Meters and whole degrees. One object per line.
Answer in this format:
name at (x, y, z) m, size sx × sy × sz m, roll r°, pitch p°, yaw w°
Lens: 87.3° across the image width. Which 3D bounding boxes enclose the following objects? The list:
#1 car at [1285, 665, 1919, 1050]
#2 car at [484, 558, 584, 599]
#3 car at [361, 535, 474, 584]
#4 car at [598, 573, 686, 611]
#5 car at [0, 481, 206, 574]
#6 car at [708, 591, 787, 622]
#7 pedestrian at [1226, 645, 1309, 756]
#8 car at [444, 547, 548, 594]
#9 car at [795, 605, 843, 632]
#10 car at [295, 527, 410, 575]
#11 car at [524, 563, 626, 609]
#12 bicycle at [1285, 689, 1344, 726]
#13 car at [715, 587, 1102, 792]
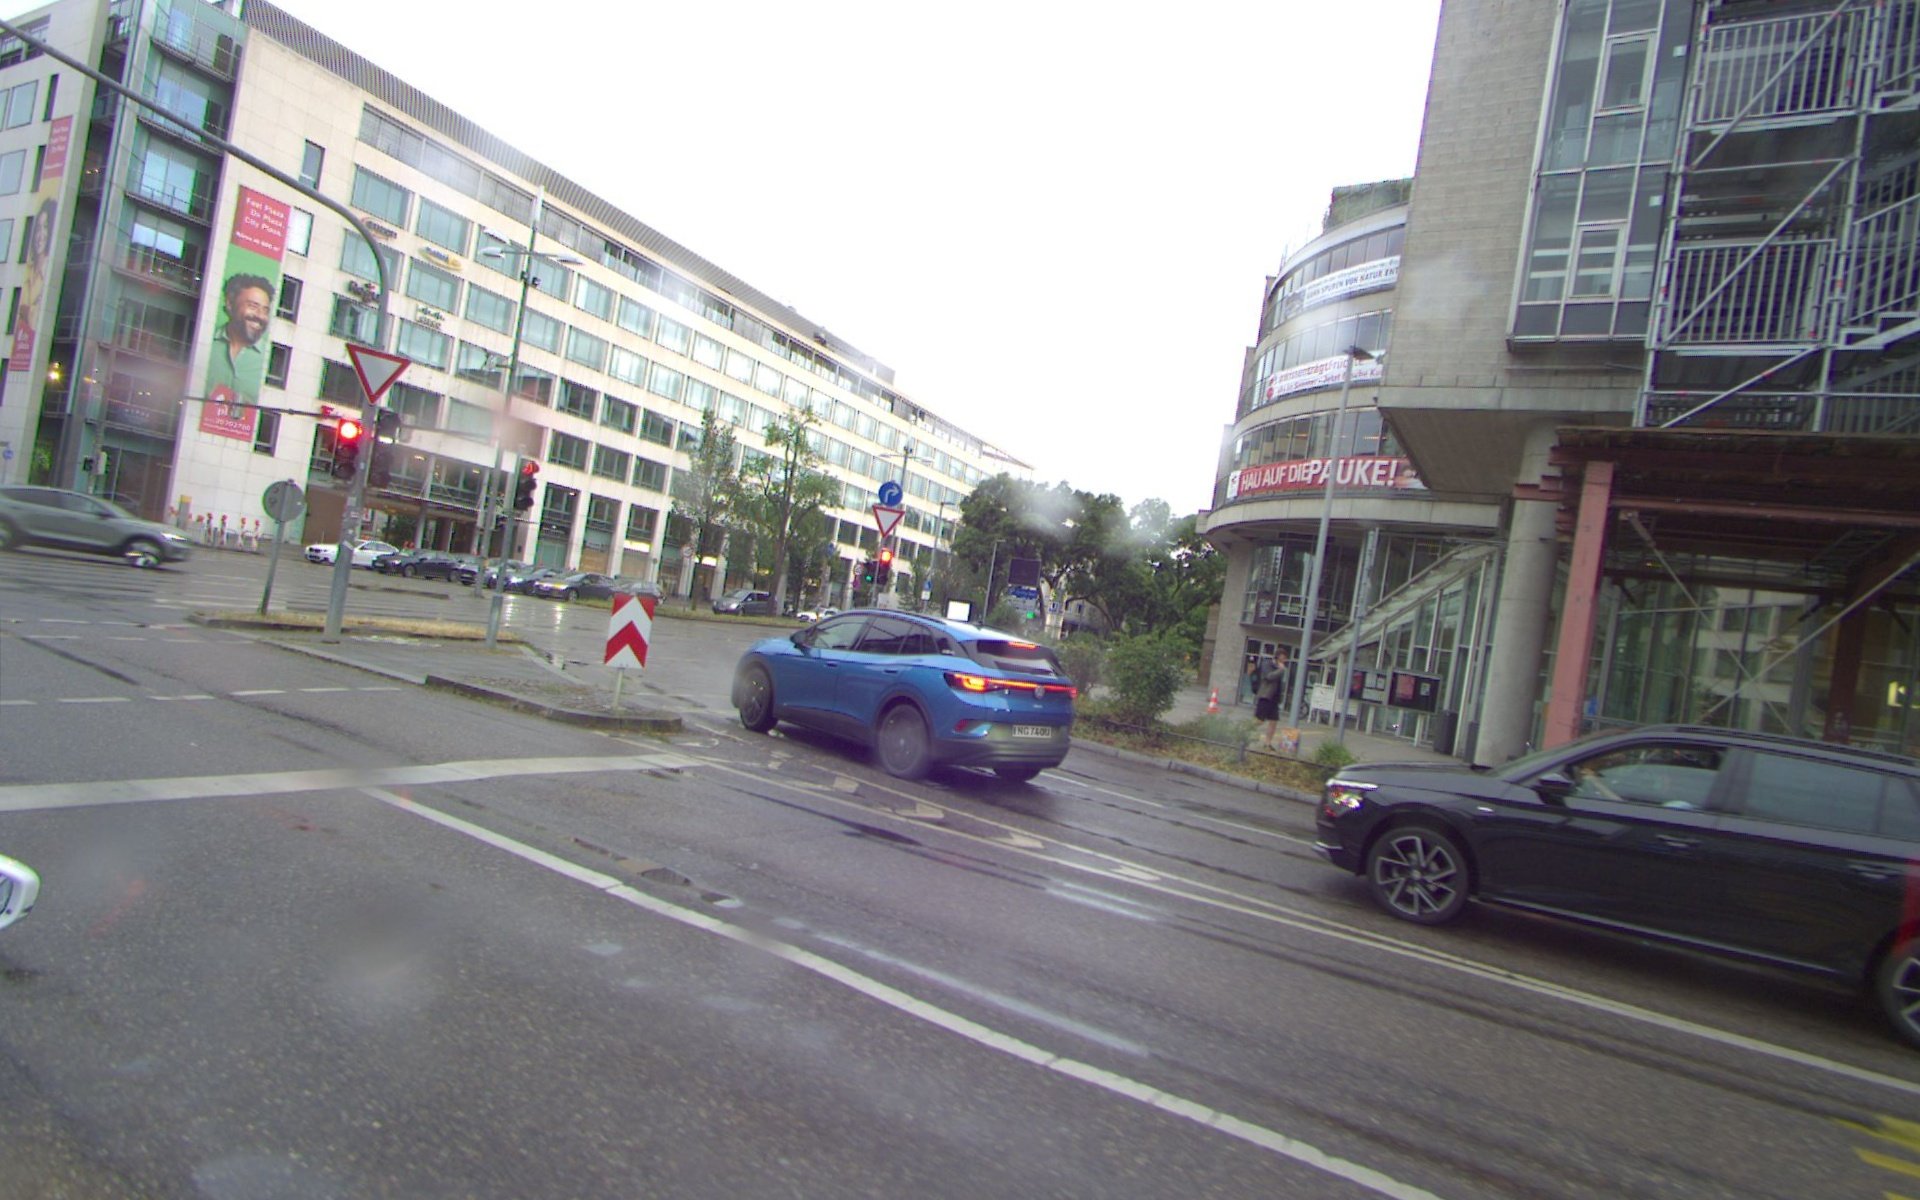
car at (4.532, 1.523, 6.634) m, size 4.080 × 1.558 × 1.781 m, roll 7°, pitch -1°, yaw 34°
car at (-19.891, -0.970, 47.181) m, size 1.690 × 1.364 × 4.469 m, roll 8°, pitch -2°, yaw 17°
car at (-25.905, -1.889, 48.236) m, size 1.963 × 1.616 × 4.468 m, roll 8°, pitch -2°, yaw 20°
car at (-16.449, -0.393, 52.332) m, size 1.891 × 1.364 × 4.655 m, roll 8°, pitch -2°, yaw 18°
car at (-21.068, -1.756, 24.113) m, size 4.513 × 1.568 × 1.983 m, roll 9°, pitch -1°, yaw -33°
car at (-13.460, 0.430, 63.959) m, size 1.898 × 1.364 × 4.636 m, roll 7°, pitch -2°, yaw 38°
pedestrian at (5.608, 1.828, 18.387) m, size 0.677 × 1.874 × 1.044 m, roll 7°, pitch 0°, yaw -41°
car at (-22.578, -1.410, 49.163) m, size 1.962 × 1.616 × 4.469 m, roll 8°, pitch -2°, yaw 17°
car at (-10.969, 1.487, 78.553) m, size 1.700 × 1.642 × 4.197 m, roll 9°, pitch -1°, yaw 22°
car at (-29.370, -2.335, 48.836) m, size 1.962 × 1.616 × 4.469 m, roll 8°, pitch -2°, yaw 17°
car at (-17.278, -0.604, 45.406) m, size 1.690 × 1.481 × 4.468 m, roll 8°, pitch -2°, yaw 19°
bicycle at (12.696, 3.840, 36.070) m, size 1.816 × 0.995 × 0.757 m, roll 8°, pitch -1°, yaw 12°
car at (-0.764, 0.872, 11.055) m, size 1.699 × 1.547 × 4.373 m, roll 9°, pitch -2°, yaw -43°
